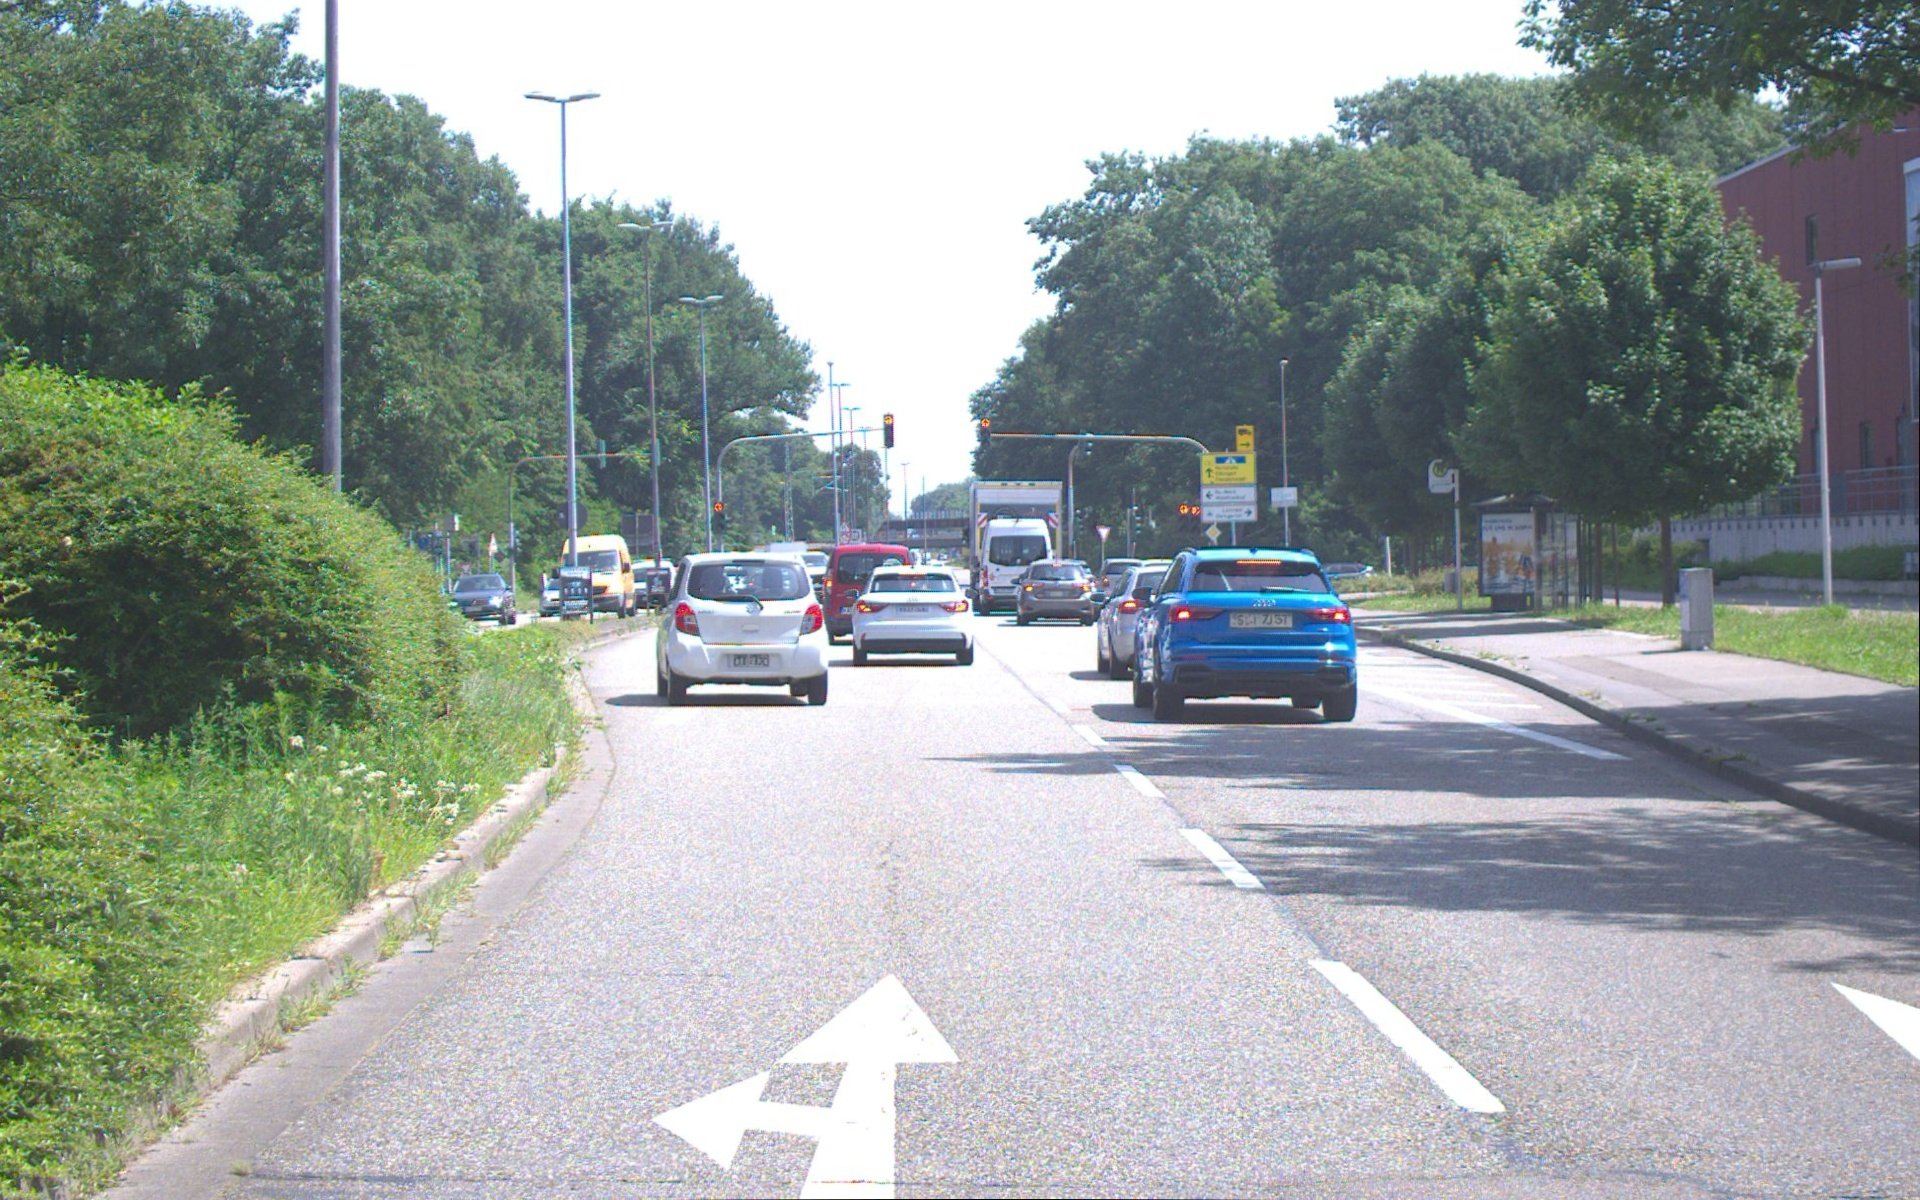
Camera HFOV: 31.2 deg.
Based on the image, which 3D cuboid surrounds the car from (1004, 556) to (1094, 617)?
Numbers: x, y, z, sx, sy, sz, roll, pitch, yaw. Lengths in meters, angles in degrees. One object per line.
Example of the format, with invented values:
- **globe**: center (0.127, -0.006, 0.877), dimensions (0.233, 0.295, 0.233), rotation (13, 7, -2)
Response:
- **car**: center (2.034, -0.328, 79.608), dimensions (1.865, 1.305, 4.000), rotation (-2, 1, -1)

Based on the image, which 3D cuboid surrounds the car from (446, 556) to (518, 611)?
- **car**: center (-14.711, -0.507, 105.950), dimensions (1.710, 1.656, 4.000), rotation (0, 0, -1)

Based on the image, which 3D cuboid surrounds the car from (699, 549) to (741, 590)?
- **car**: center (-8.108, -1.041, 116.369), dimensions (1.368, 1.304, 2.694), rotation (-2, 1, -4)

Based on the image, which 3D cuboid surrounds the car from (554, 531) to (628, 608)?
- **car**: center (-11.257, -0.925, 105.190), dimensions (1.779, 2.274, 4.752), rotation (0, 0, -1)

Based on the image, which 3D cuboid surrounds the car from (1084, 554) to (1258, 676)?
- **car**: center (2.636, 0.173, 43.778), dimensions (1.865, 1.468, 4.000), rotation (0, 0, -1)

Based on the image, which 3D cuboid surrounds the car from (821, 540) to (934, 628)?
- **car**: center (-1.526, -0.293, 62.217), dimensions (1.794, 1.518, 4.001), rotation (0, 0, -5)

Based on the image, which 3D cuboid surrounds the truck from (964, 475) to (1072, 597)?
- **truck**: center (1.699, -1.958, 105.571), dimensions (2.932, 3.490, 9.158), rotation (-1, 1, -1)

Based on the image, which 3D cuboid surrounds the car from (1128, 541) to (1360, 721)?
- **car**: center (2.630, 0.261, 32.733), dimensions (1.808, 1.587, 4.349), rotation (0, 0, 0)

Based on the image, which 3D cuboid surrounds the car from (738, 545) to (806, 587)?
- **car**: center (-6.009, -1.114, 110.364), dimensions (1.993, 1.284, 4.000), rotation (-1, 1, -1)

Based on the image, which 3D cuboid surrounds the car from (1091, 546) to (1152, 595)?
- **car**: center (5.082, -0.941, 108.445), dimensions (1.633, 1.459, 4.000), rotation (-1, 1, -1)

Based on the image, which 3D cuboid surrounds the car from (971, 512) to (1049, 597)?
- **car**: center (1.354, -1.273, 95.058), dimensions (1.993, 2.248, 4.000), rotation (-1, 1, -1)

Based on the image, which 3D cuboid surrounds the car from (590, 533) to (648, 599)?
- **car**: center (-11.889, -1.180, 120.015), dimensions (1.779, 2.274, 4.000), rotation (0, 0, -2)

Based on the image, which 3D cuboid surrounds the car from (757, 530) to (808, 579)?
- **car**: center (-7.543, -1.958, 146.559), dimensions (1.993, 2.007, 4.000), rotation (-2, 1, -1)

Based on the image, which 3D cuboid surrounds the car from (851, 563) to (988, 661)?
- **car**: center (-0.583, 0.153, 49.385), dimensions (1.884, 1.349, 4.000), rotation (0, 0, -1)

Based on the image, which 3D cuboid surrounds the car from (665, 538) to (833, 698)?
- **car**: center (-2.209, 0.168, 35.379), dimensions (1.638, 1.547, 3.325), rotation (-1, 0, -5)
